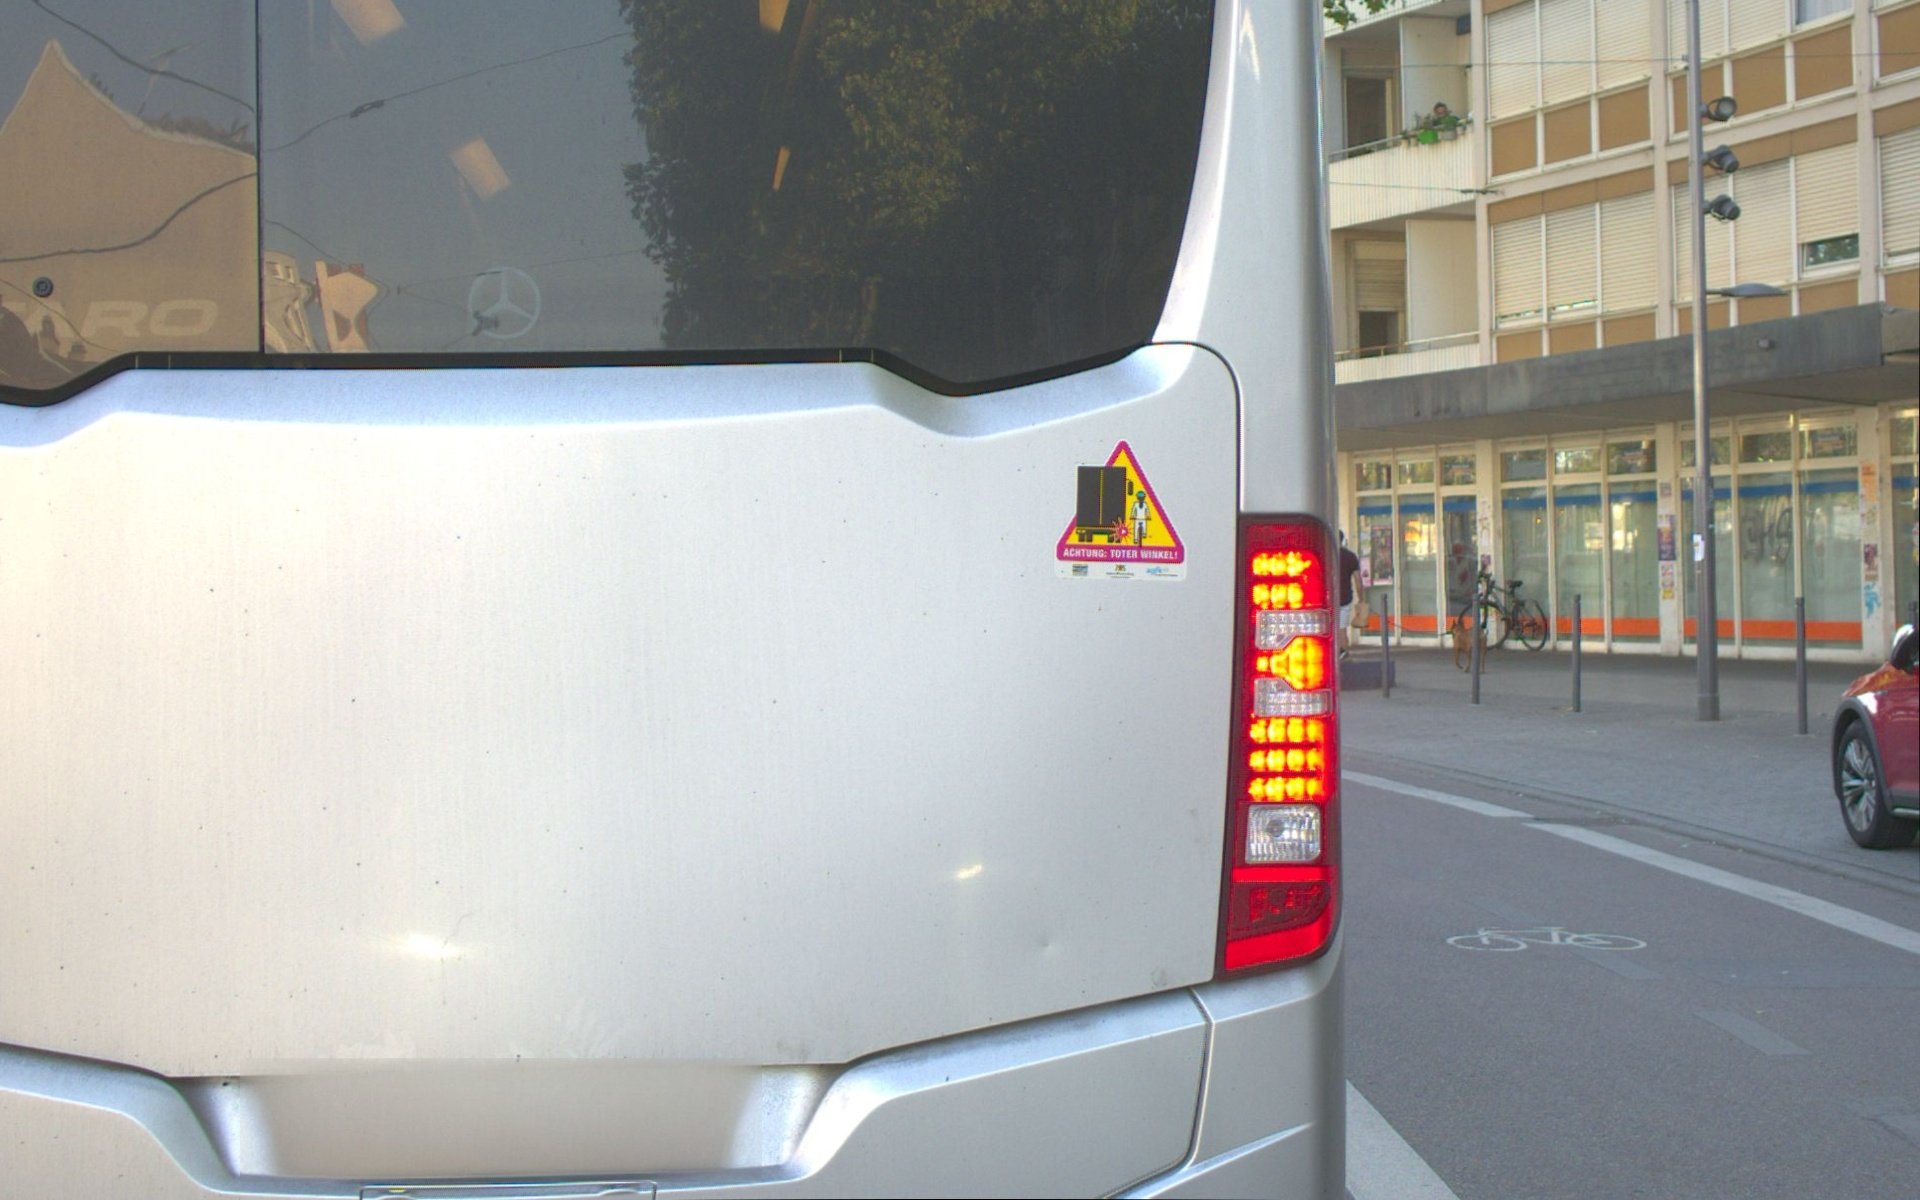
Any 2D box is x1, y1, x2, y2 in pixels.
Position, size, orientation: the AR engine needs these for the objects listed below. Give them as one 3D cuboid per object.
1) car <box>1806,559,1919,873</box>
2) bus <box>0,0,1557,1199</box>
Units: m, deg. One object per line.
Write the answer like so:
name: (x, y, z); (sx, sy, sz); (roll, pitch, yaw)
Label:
car: (5.484, 0.538, 15.865); (1.769, 1.477, 4.304); (-2, 1, -4)
bus: (-0.550, -0.123, 9.801); (2.630, 3.017, 9.998); (0, 1, -1)
